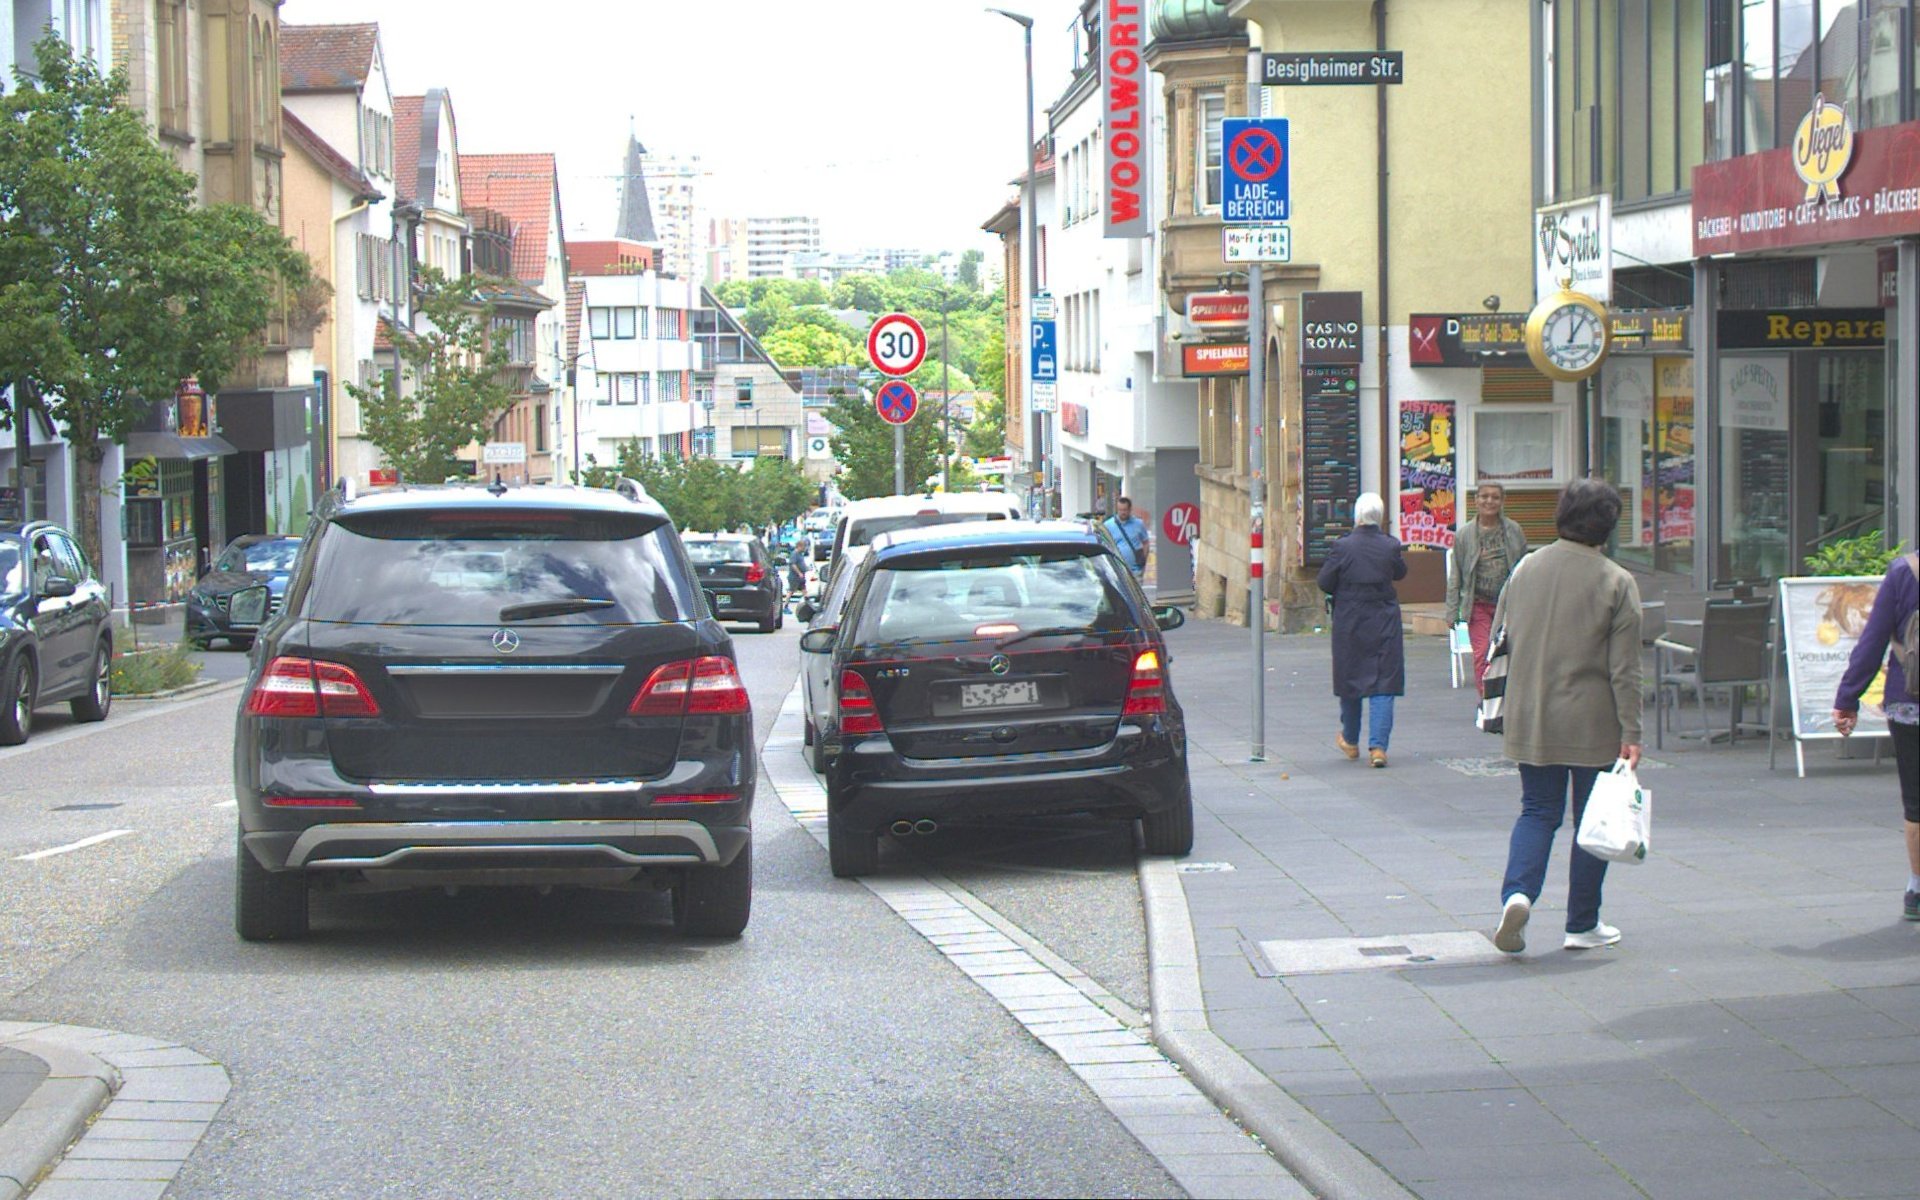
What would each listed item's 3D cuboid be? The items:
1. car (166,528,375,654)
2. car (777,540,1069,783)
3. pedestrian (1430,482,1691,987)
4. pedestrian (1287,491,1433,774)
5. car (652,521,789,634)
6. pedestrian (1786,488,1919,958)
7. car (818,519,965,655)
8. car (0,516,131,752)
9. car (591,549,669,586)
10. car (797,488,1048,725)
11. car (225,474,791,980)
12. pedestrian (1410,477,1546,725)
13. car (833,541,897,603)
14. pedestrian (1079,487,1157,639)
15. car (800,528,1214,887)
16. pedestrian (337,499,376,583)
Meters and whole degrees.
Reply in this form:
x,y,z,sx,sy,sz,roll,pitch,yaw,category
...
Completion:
x,y,z,sx,sy,sz,roll,pitch,yaw,category
-8.868,-0.148,44.600,1.926,1.487,4.843,2,1,-3,car
-0.332,0.343,23.235,1.702,1.462,4.001,-1,1,-4,car
2.014,0.433,11.629,0.772,1.639,0.870,-1,1,5,pedestrian
2.398,0.188,20.691,0.824,1.660,0.802,-1,1,5,pedestrian
-3.441,-0.357,49.946,1.785,1.535,3.745,-1,1,-1,car
3.277,0.385,11.653,0.724,1.526,0.808,-3,1,5,pedestrian
-0.866,-0.191,44.067,1.748,1.602,3.800,-2,1,-1,car
-8.088,0.188,27.340,2.006,1.688,4.608,1,2,-2,car
-17.336,-1.704,180.881,3.986,1.744,2.000,-3,0,-5,car
-0.224,0.004,28.518,1.877,1.793,4.732,0,1,2,car
-1.971,0.404,14.025,1.943,1.734,4.180,0,1,-11,car
3.635,0.000,24.212,0.864,1.701,0.945,-1,1,5,pedestrian
-3.112,-0.937,112.086,1.938,1.885,4.707,-3,1,-2,car
1.832,-0.432,39.935,0.796,1.721,1.053,-1,1,-1,pedestrian
0.171,0.438,17.138,1.803,1.550,3.954,-1,1,-1,car
-10.613,-1.033,60.491,0.491,1.458,0.559,2,0,7,pedestrian
